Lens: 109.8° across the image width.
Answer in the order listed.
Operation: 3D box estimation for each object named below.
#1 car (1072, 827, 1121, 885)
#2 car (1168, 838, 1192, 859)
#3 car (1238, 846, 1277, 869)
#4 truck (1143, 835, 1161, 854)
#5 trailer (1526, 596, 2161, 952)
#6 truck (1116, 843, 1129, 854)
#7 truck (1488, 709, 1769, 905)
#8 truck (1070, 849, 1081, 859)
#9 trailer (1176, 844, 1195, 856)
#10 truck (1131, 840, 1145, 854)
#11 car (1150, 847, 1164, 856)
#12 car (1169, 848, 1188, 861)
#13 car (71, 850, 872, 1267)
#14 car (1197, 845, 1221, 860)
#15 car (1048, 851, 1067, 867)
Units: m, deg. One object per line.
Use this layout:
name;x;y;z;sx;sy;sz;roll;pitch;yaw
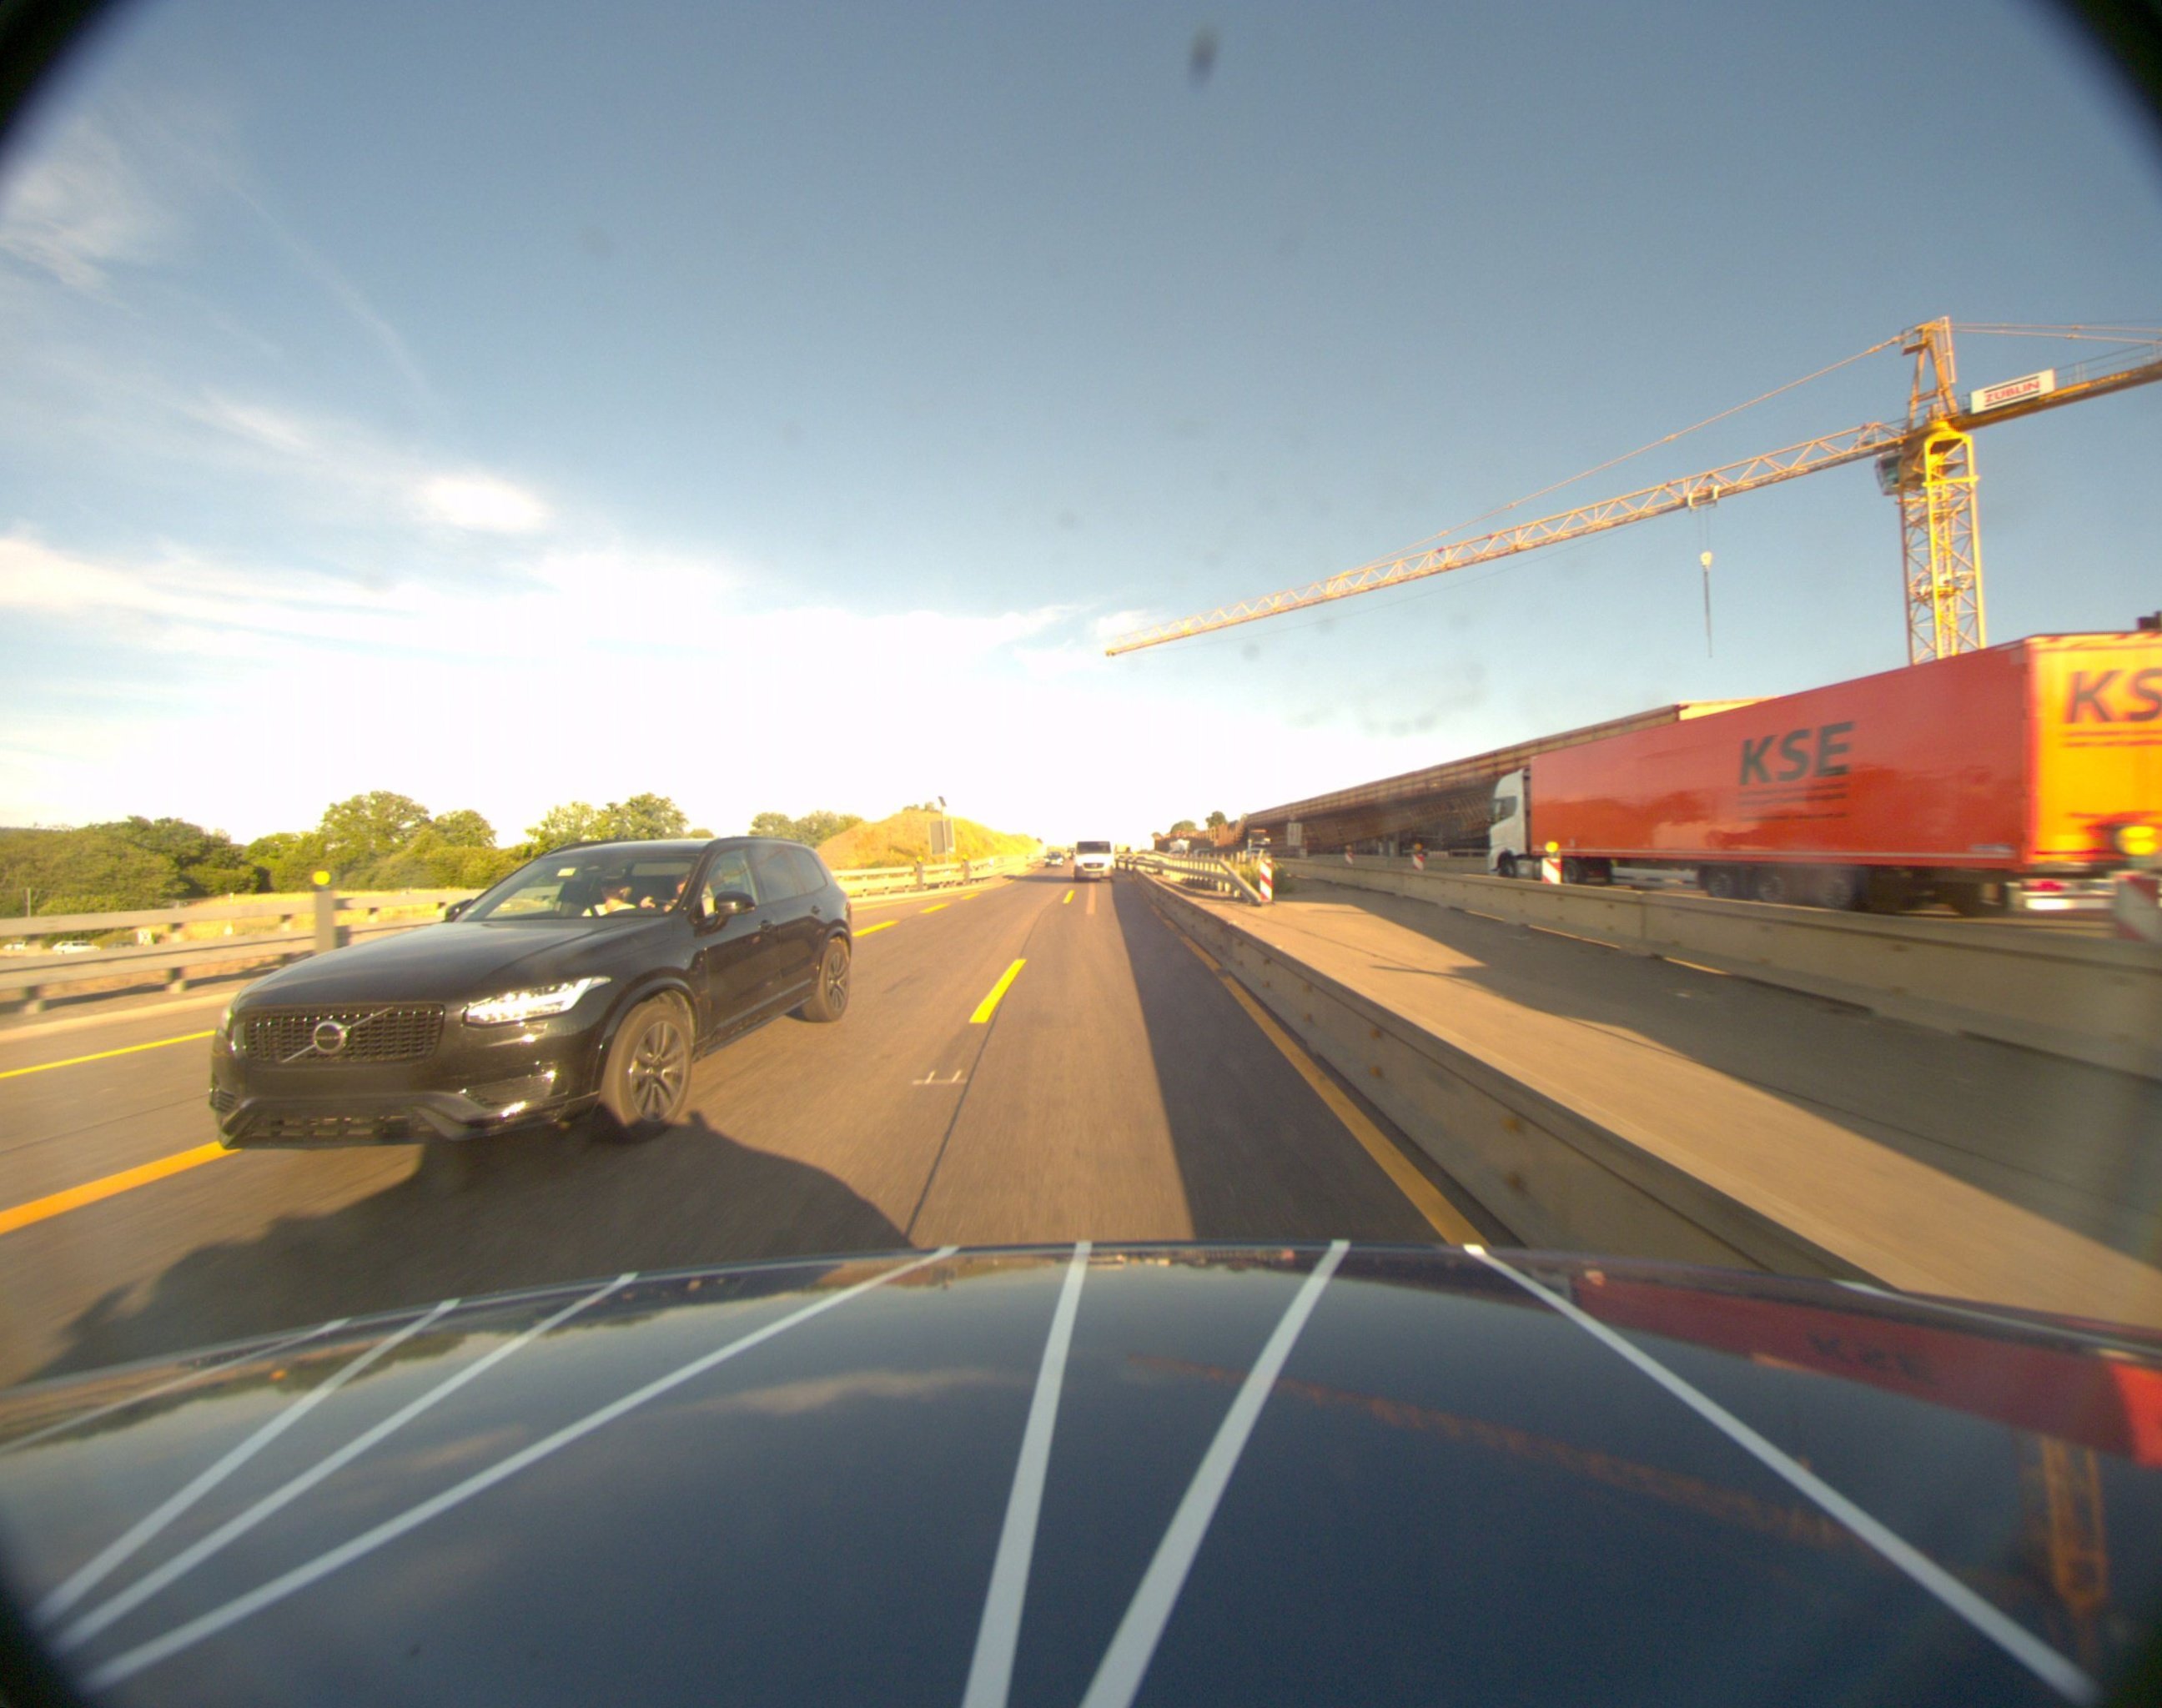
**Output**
car;0.691;0.060;36.470;2.110;2.518;5.219;-2;1;0
car;14.551;-0.813;111.595;2.334;2.950;6.160;-2;1;-3
car;13.195;0.234;56.916;1.734;1.591;4.660;-2;1;-1
truck;14.375;-1.936;154.830;2.796;3.704;7.161;-2;1;-1
trailer;14.470;-1.085;16.604;2.589;4.445;14.142;-3;0;7
truck;12.834;-1.860;236.308;3.344;3.224;10.970;-2;1;-1
truck;15.002;-1.111;21.898;2.589;4.445;8.335;-3;0;5
truck;-1.162;0.024;159.912;1.999;2.109;7.560;-2;0;-2
trailer;14.741;-0.557;107.482;2.328;1.504;2.144;-2;1;-3
truck;13.583;-1.623;181.598;2.774;3.224;7.161;-2;1;-1
car;11.482;-0.405;115.094;1.734;1.270;4.112;-2;1;-1
car;12.305;0.020;95.928;1.734;1.591;4.112;-2;1;-1
car;-3.254;0.864;5.666;1.902;1.703;4.887;-2;1;1
car;13.027;-0.153;77.543;1.665;1.383;4.000;-6;0;1
car;-2.374;0.485;76.930;1.791;1.477;3.999;-2;1;-1
